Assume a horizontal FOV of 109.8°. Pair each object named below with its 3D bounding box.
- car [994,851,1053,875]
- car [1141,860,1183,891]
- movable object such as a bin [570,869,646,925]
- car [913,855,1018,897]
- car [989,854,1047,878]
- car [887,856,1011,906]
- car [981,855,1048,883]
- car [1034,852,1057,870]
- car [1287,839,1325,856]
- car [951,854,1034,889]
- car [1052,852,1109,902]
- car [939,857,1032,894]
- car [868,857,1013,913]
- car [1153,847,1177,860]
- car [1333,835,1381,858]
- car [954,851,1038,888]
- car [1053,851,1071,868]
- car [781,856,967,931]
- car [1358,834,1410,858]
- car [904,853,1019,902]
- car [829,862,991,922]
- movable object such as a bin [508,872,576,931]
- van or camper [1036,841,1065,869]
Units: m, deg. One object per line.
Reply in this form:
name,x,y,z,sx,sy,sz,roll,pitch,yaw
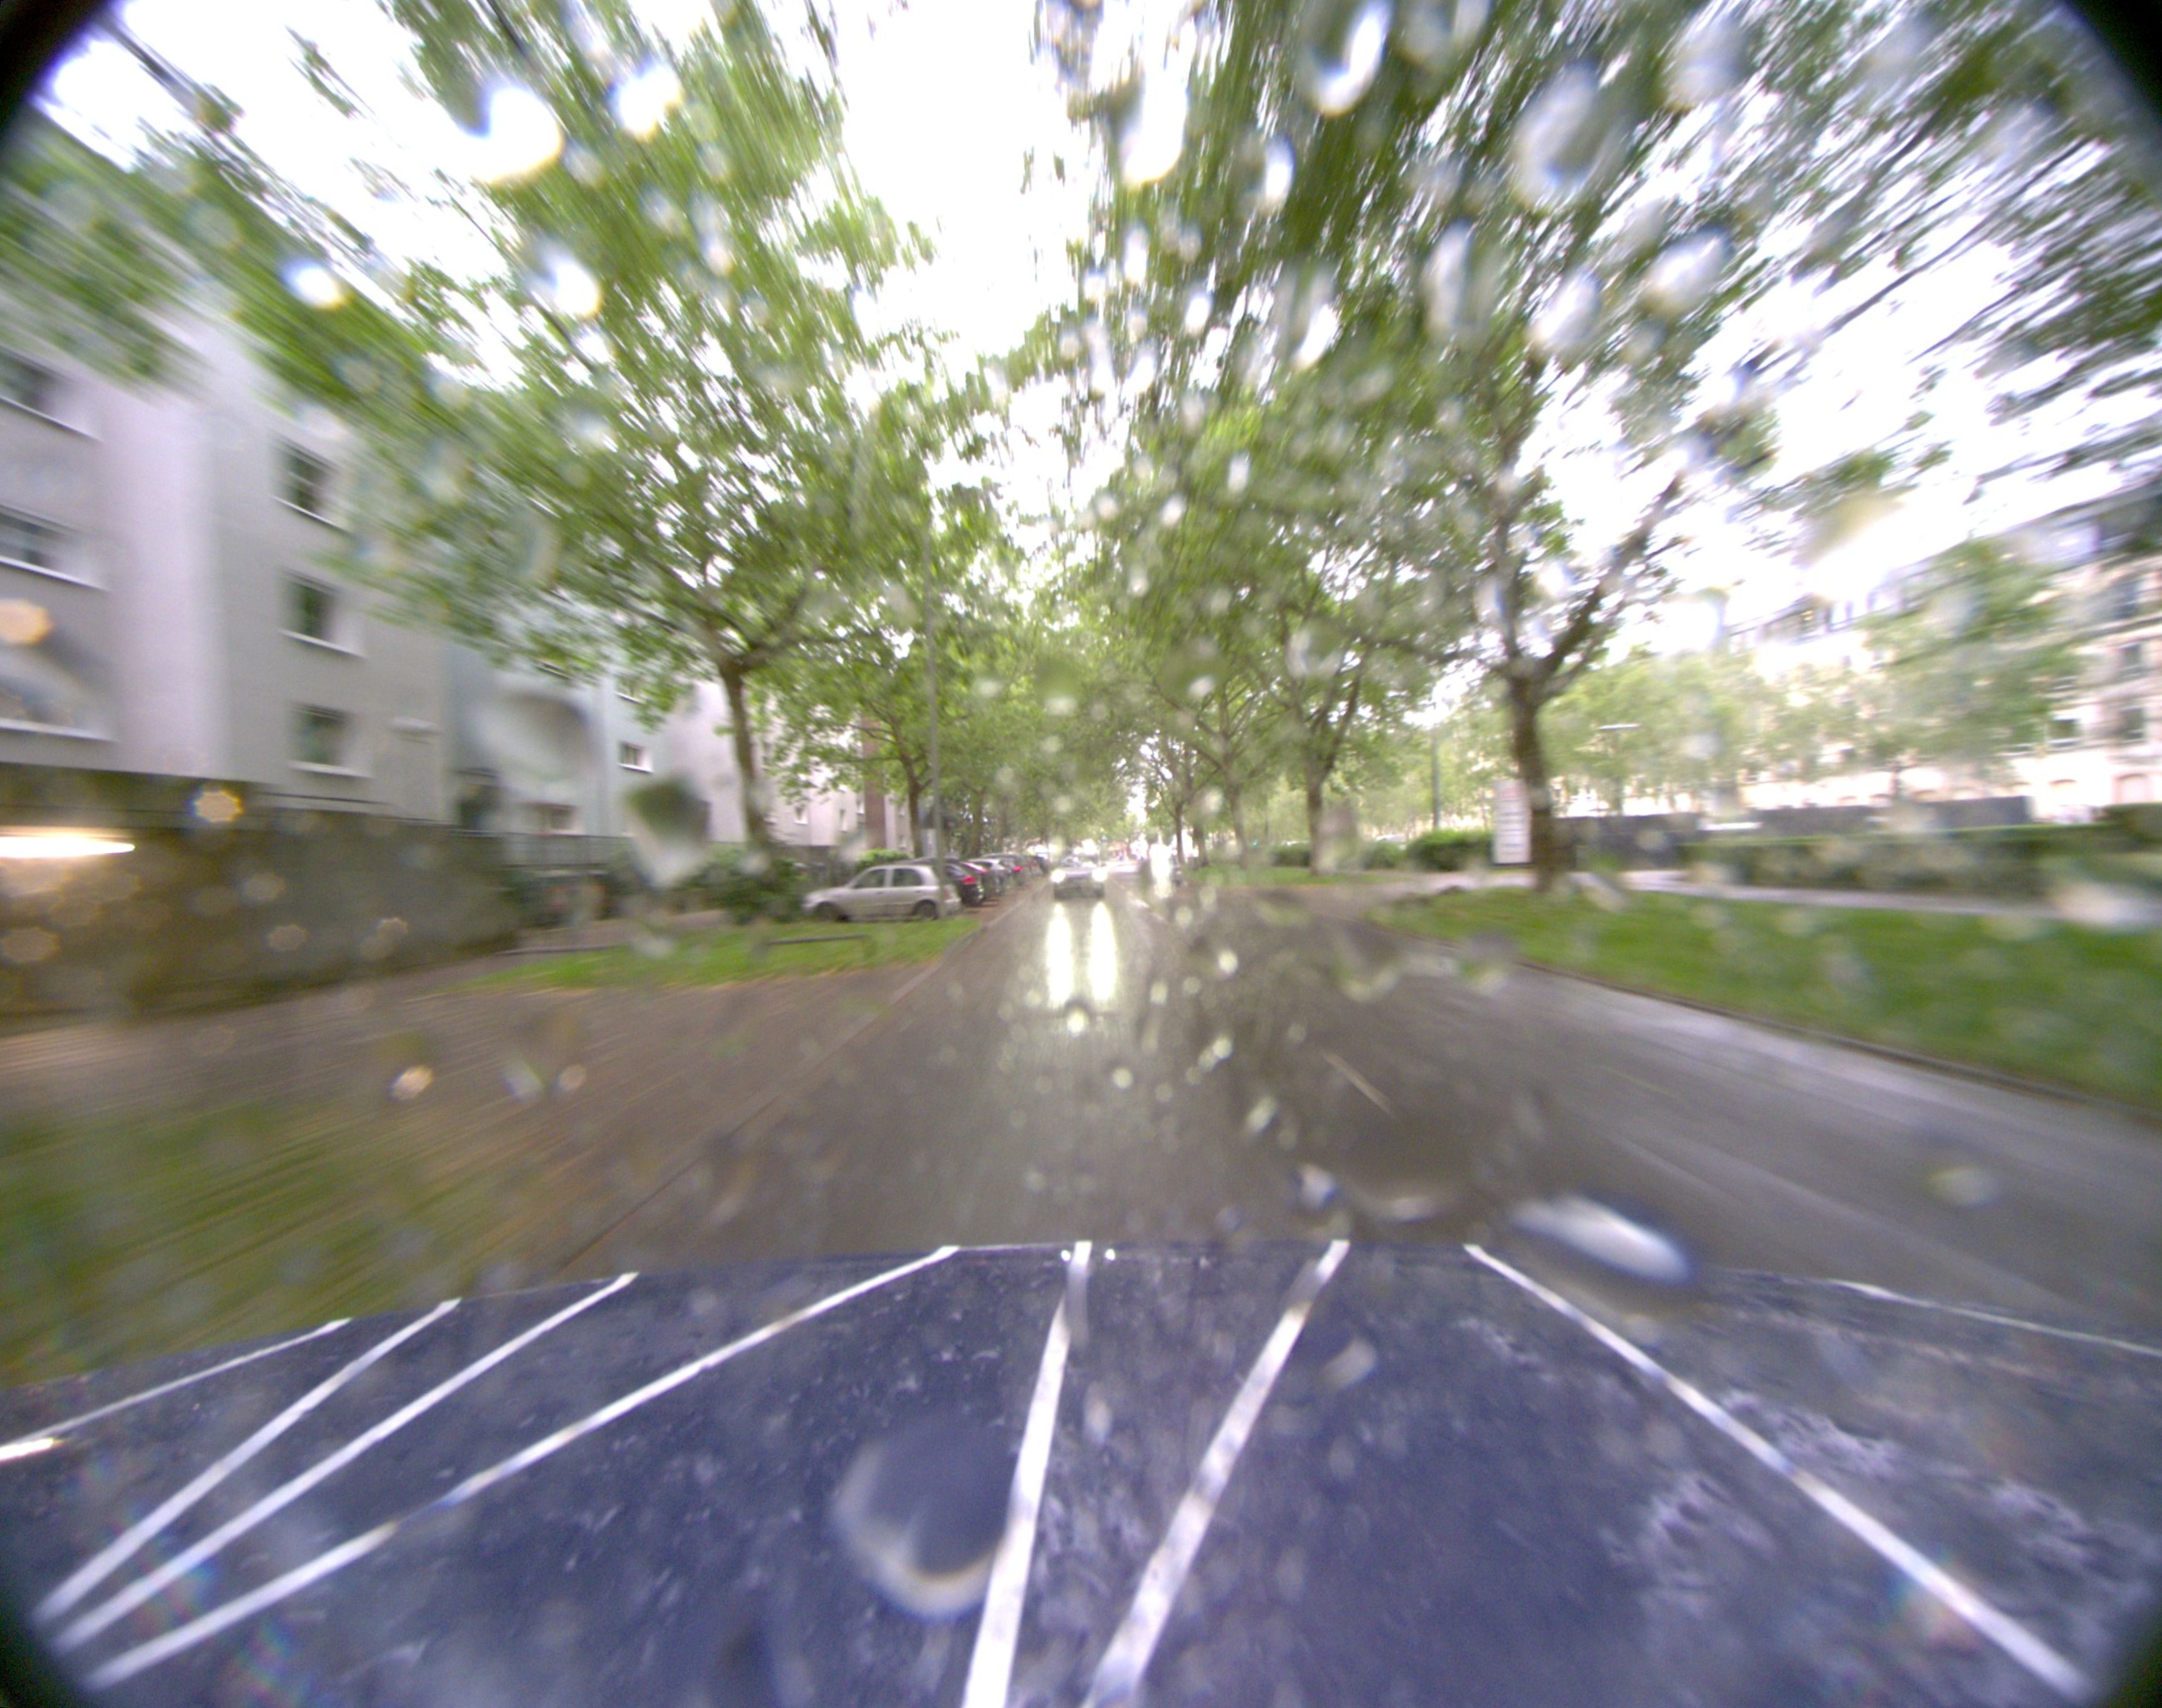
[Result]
car,-4.219,0.650,56.022,3.873,1.687,1.834,-1,-1,-27
car,4.073,1.047,38.891,1.683,1.380,4.549,-2,0,1
movable object such as a bin,-13.085,1.174,21.079,1.206,1.429,1.345,-2,0,1
car,-4.935,0.930,32.878,4.221,1.575,1.746,-3,0,-2
car,-4.222,0.791,51.263,3.712,1.527,1.738,-1,0,4
car,-4.612,0.930,26.985,4.052,1.521,1.780,-3,0,-2
car,-4.213,0.944,48.564,3.997,1.504,1.801,-4,0,-1
car,-3.597,0.715,76.715,1.693,1.643,2.943,-4,0,-16
car,27.460,-0.783,92.908,3.998,1.822,1.854,-4,0,-3
car,-4.577,0.874,39.573,3.997,1.528,1.631,-4,0,1
car,0.064,0.825,28.997,1.961,1.702,4.175,-2,0,2
car,-4.383,0.979,35.359,4.046,1.432,1.685,-4,0,-2
car,-4.315,0.948,23.803,4.110,1.504,1.865,-2,0,1
car,17.340,-0.138,156.633,2.190,2.242,4.893,-4,0,41
car,27.485,-0.762,75.751,3.996,2.120,2.000,-2,0,2
car,-4.710,0.836,42.326,4.348,1.751,1.819,-4,0,1
car,-2.125,0.616,88.161,1.920,1.611,4.452,-4,1,-1
car,-4.937,0.927,18.474,3.997,1.569,1.679,-2,0,1
car,28.054,-0.717,70.371,3.996,2.002,2.000,-2,0,1
car,-4.695,0.903,30.344,4.221,1.646,1.913,-3,0,0
car,-4.632,1.012,20.943,3.997,1.429,1.679,-2,0,1
movable object such as a bin,-13.829,1.199,19.522,0.866,1.429,1.114,-2,0,1
van or camper,-3.237,0.058,82.180,2.324,2.791,6.864,-4,0,2
